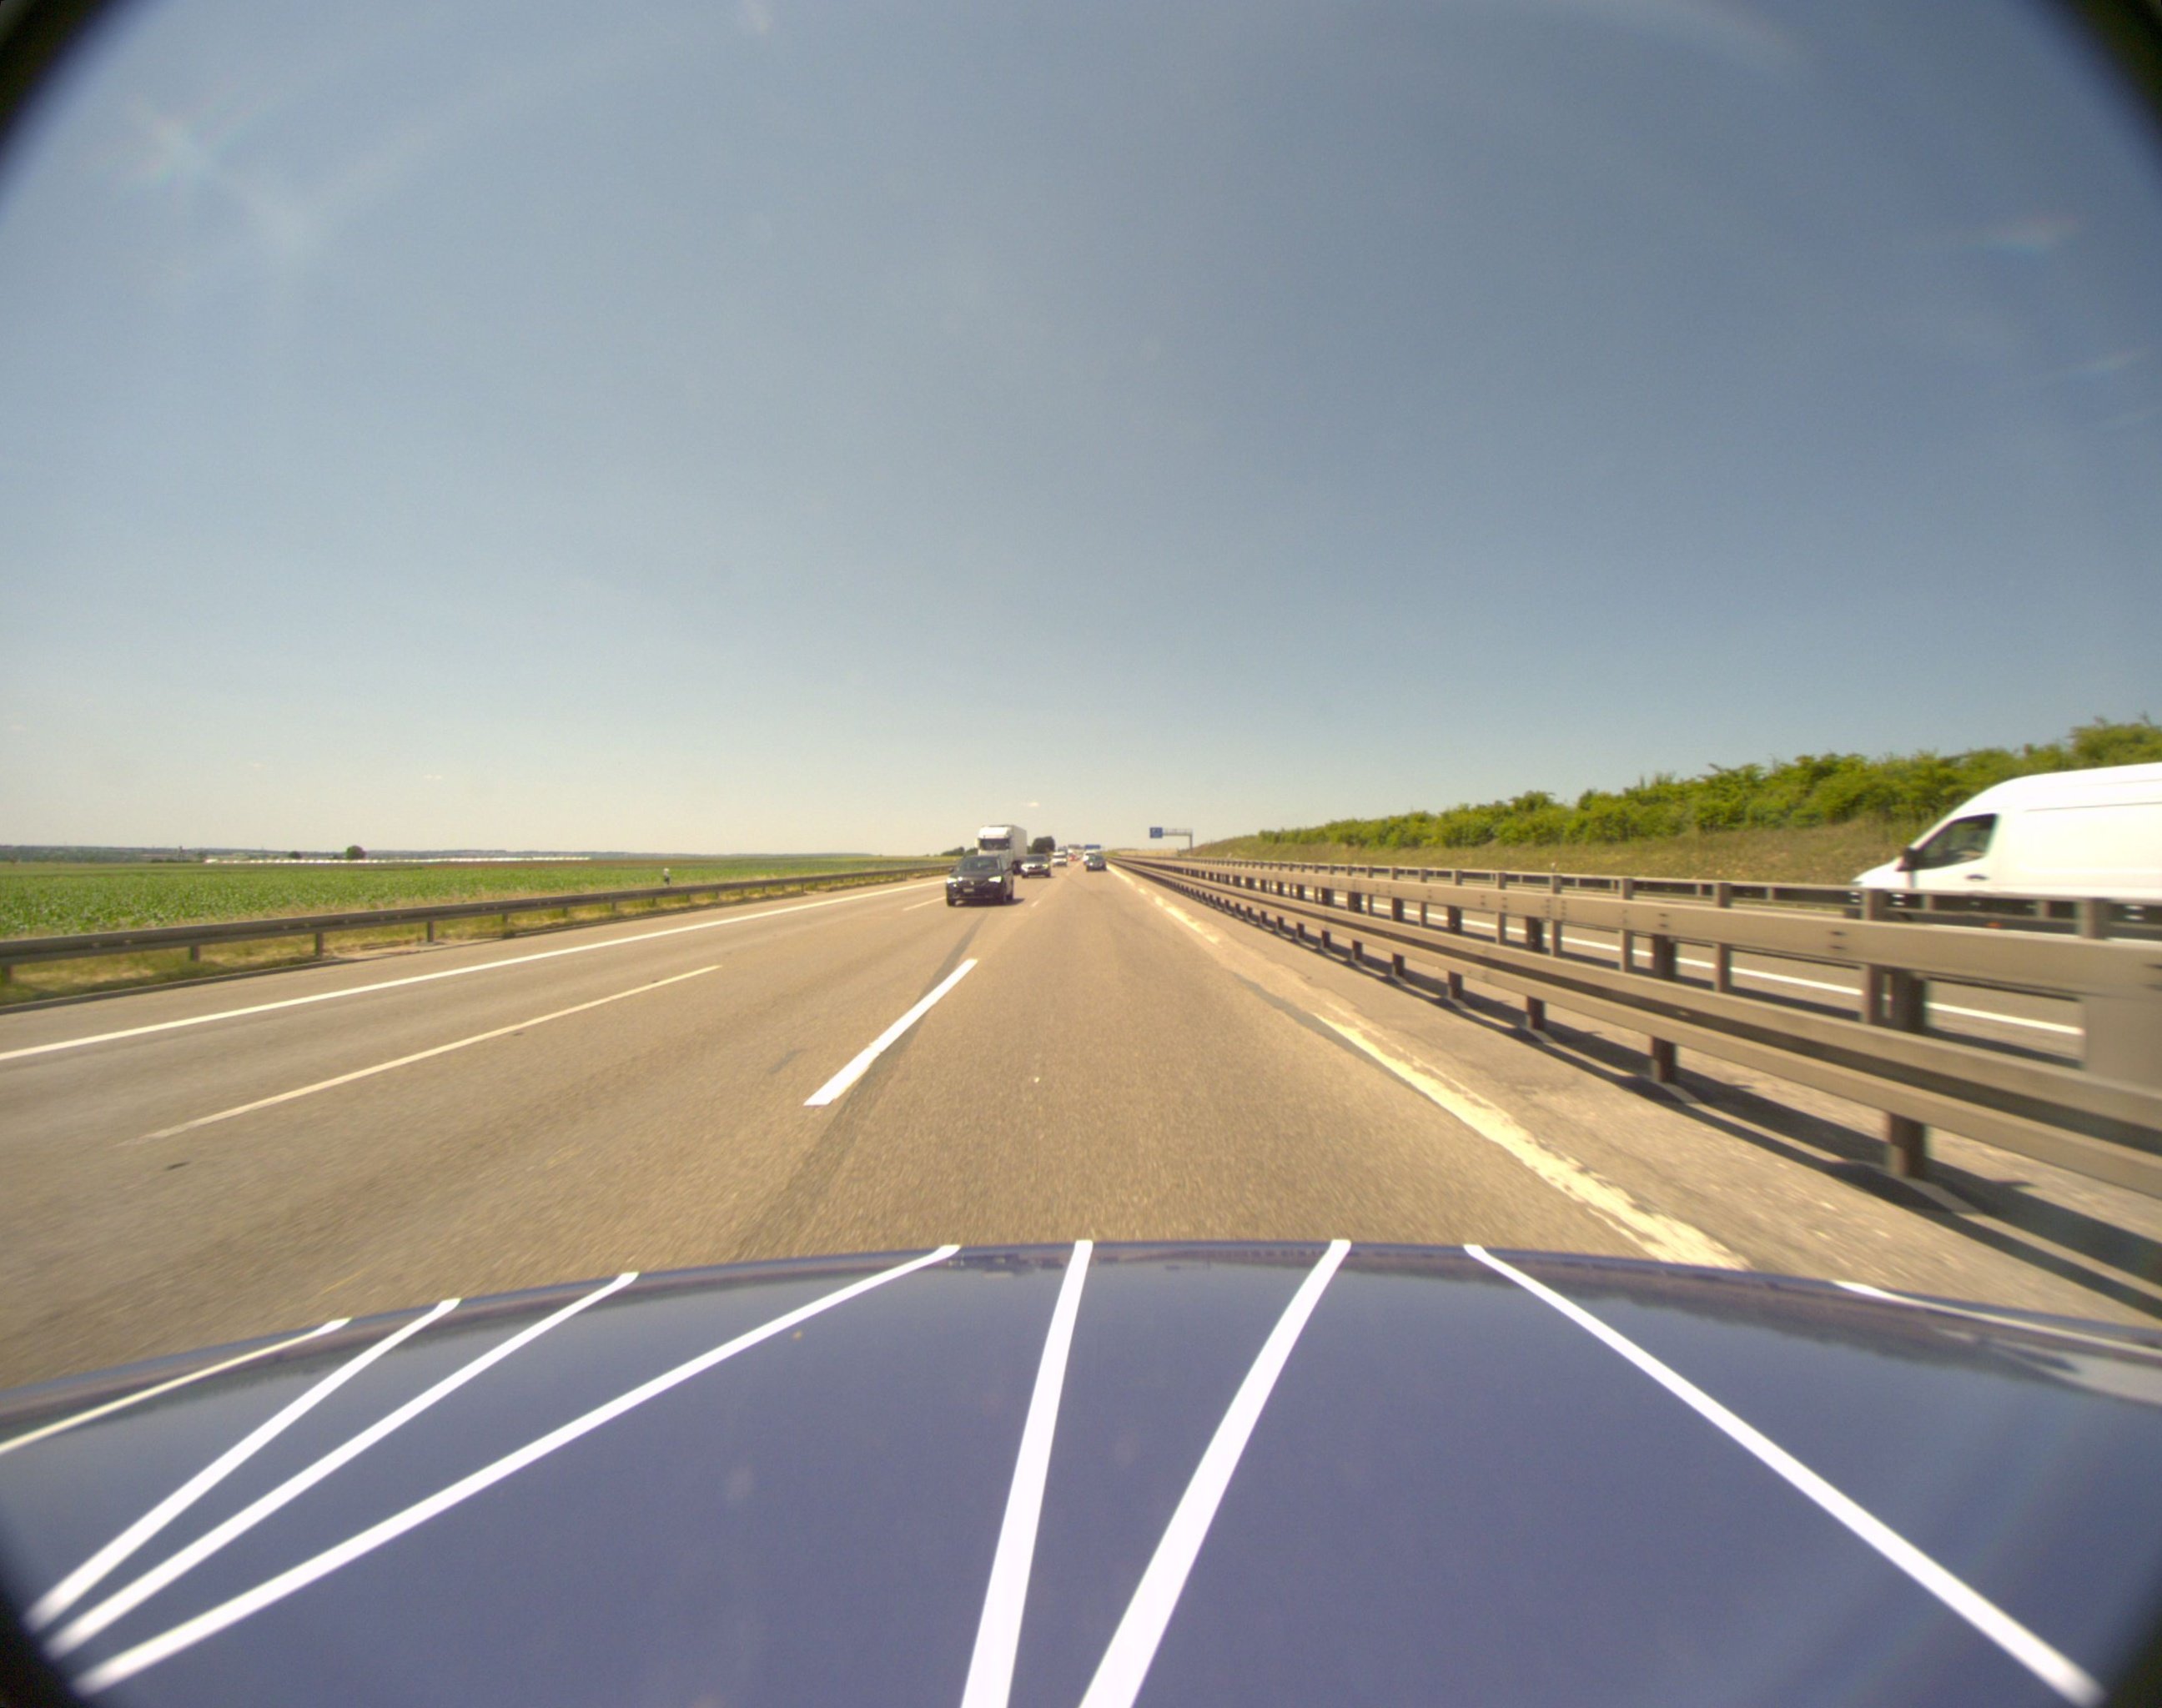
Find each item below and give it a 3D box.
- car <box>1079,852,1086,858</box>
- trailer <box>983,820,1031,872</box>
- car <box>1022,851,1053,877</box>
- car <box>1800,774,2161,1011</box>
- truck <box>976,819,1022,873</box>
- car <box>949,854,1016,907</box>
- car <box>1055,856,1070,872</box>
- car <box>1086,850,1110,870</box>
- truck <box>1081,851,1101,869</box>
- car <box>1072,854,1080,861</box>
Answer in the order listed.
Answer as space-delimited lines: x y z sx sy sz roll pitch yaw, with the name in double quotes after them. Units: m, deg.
0.286 0.266 201.922 1.724 1.514 3.581 -2 1 -2 "car"
-6.498 -0.734 68.920 2.875 4.195 13.293 -2 1 0 "trailer"
-2.972 0.728 52.682 1.856 1.638 4.645 -2 -1 0 "car"
12.775 0.385 8.659 2.037 2.590 7.599 -2 1 1 "car"
-6.546 -0.660 61.930 2.870 4.068 6.878 -2 1 0 "truck"
-3.196 0.827 25.320 1.801 1.553 3.822 -2 1 -2 "car"
-2.386 1.251 96.230 1.812 1.836 5.311 -1 0 -2 "car"
1.395 0.486 64.487 1.715 1.586 4.546 1 0 -2 "car"
1.355 0.795 107.329 2.334 2.378 6.685 -2 1 -2 "truck"
-1.137 0.841 174.270 1.723 1.514 3.582 -2 1 2 "car"
